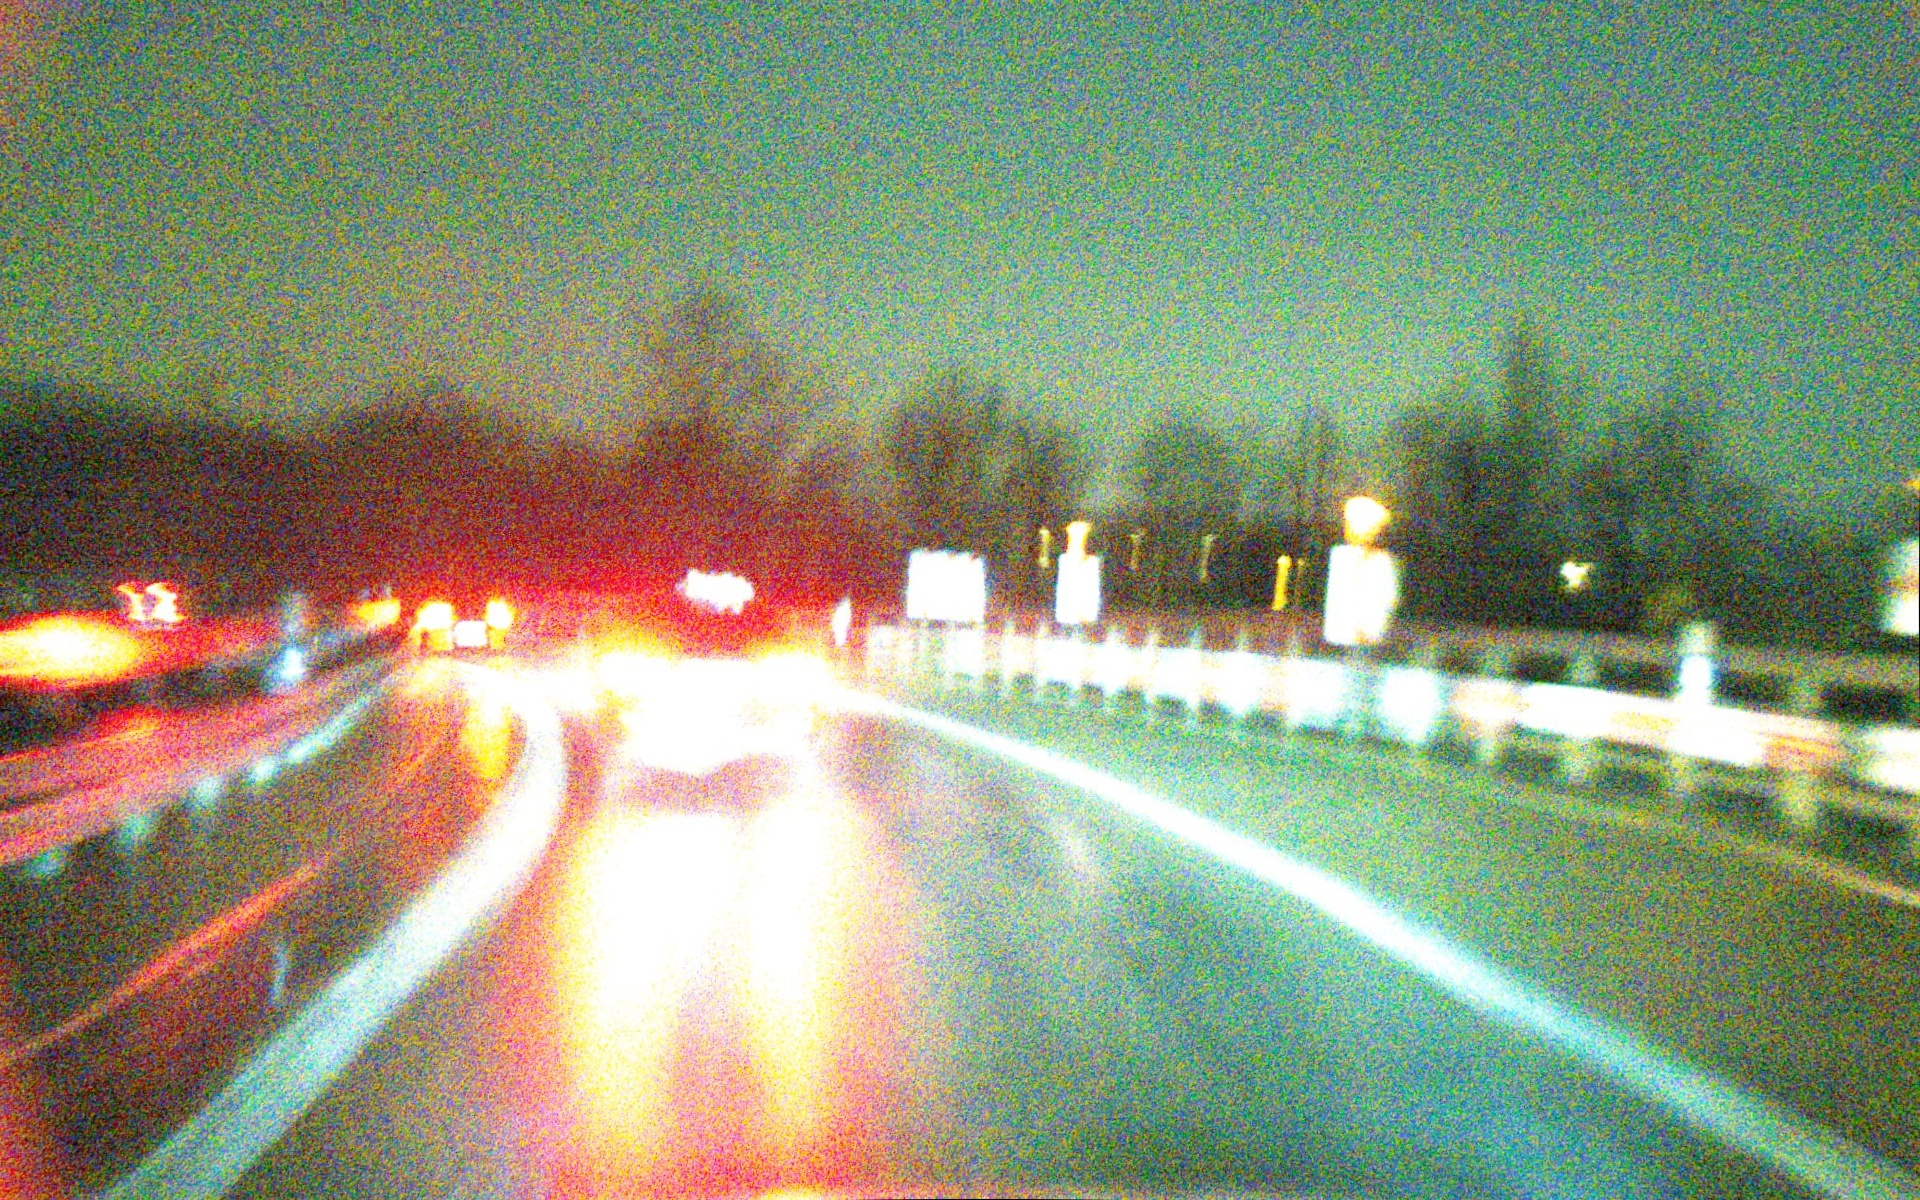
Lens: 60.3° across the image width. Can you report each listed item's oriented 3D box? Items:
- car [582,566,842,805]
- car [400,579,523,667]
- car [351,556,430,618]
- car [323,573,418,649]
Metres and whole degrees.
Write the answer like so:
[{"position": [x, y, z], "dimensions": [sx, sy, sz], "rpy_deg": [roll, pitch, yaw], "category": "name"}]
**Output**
[{"position": [-2.152, 0.588, 13.790], "dimensions": [1.827, 1.676, 4.057], "rpy_deg": [0, 0, -12], "category": "car"}, {"position": [-10.632, 0.461, 35.115], "dimensions": [1.872, 1.750, 4.012], "rpy_deg": [2, 0, -26], "category": "car"}, {"position": [-20.036, -0.411, 58.149], "dimensions": [1.875, 2.076, 4.004], "rpy_deg": [2, -1, -30], "category": "car"}, {"position": [-16.980, 0.345, 47.534], "dimensions": [1.875, 2.076, 4.004], "rpy_deg": [2, -1, -30], "category": "car"}]
